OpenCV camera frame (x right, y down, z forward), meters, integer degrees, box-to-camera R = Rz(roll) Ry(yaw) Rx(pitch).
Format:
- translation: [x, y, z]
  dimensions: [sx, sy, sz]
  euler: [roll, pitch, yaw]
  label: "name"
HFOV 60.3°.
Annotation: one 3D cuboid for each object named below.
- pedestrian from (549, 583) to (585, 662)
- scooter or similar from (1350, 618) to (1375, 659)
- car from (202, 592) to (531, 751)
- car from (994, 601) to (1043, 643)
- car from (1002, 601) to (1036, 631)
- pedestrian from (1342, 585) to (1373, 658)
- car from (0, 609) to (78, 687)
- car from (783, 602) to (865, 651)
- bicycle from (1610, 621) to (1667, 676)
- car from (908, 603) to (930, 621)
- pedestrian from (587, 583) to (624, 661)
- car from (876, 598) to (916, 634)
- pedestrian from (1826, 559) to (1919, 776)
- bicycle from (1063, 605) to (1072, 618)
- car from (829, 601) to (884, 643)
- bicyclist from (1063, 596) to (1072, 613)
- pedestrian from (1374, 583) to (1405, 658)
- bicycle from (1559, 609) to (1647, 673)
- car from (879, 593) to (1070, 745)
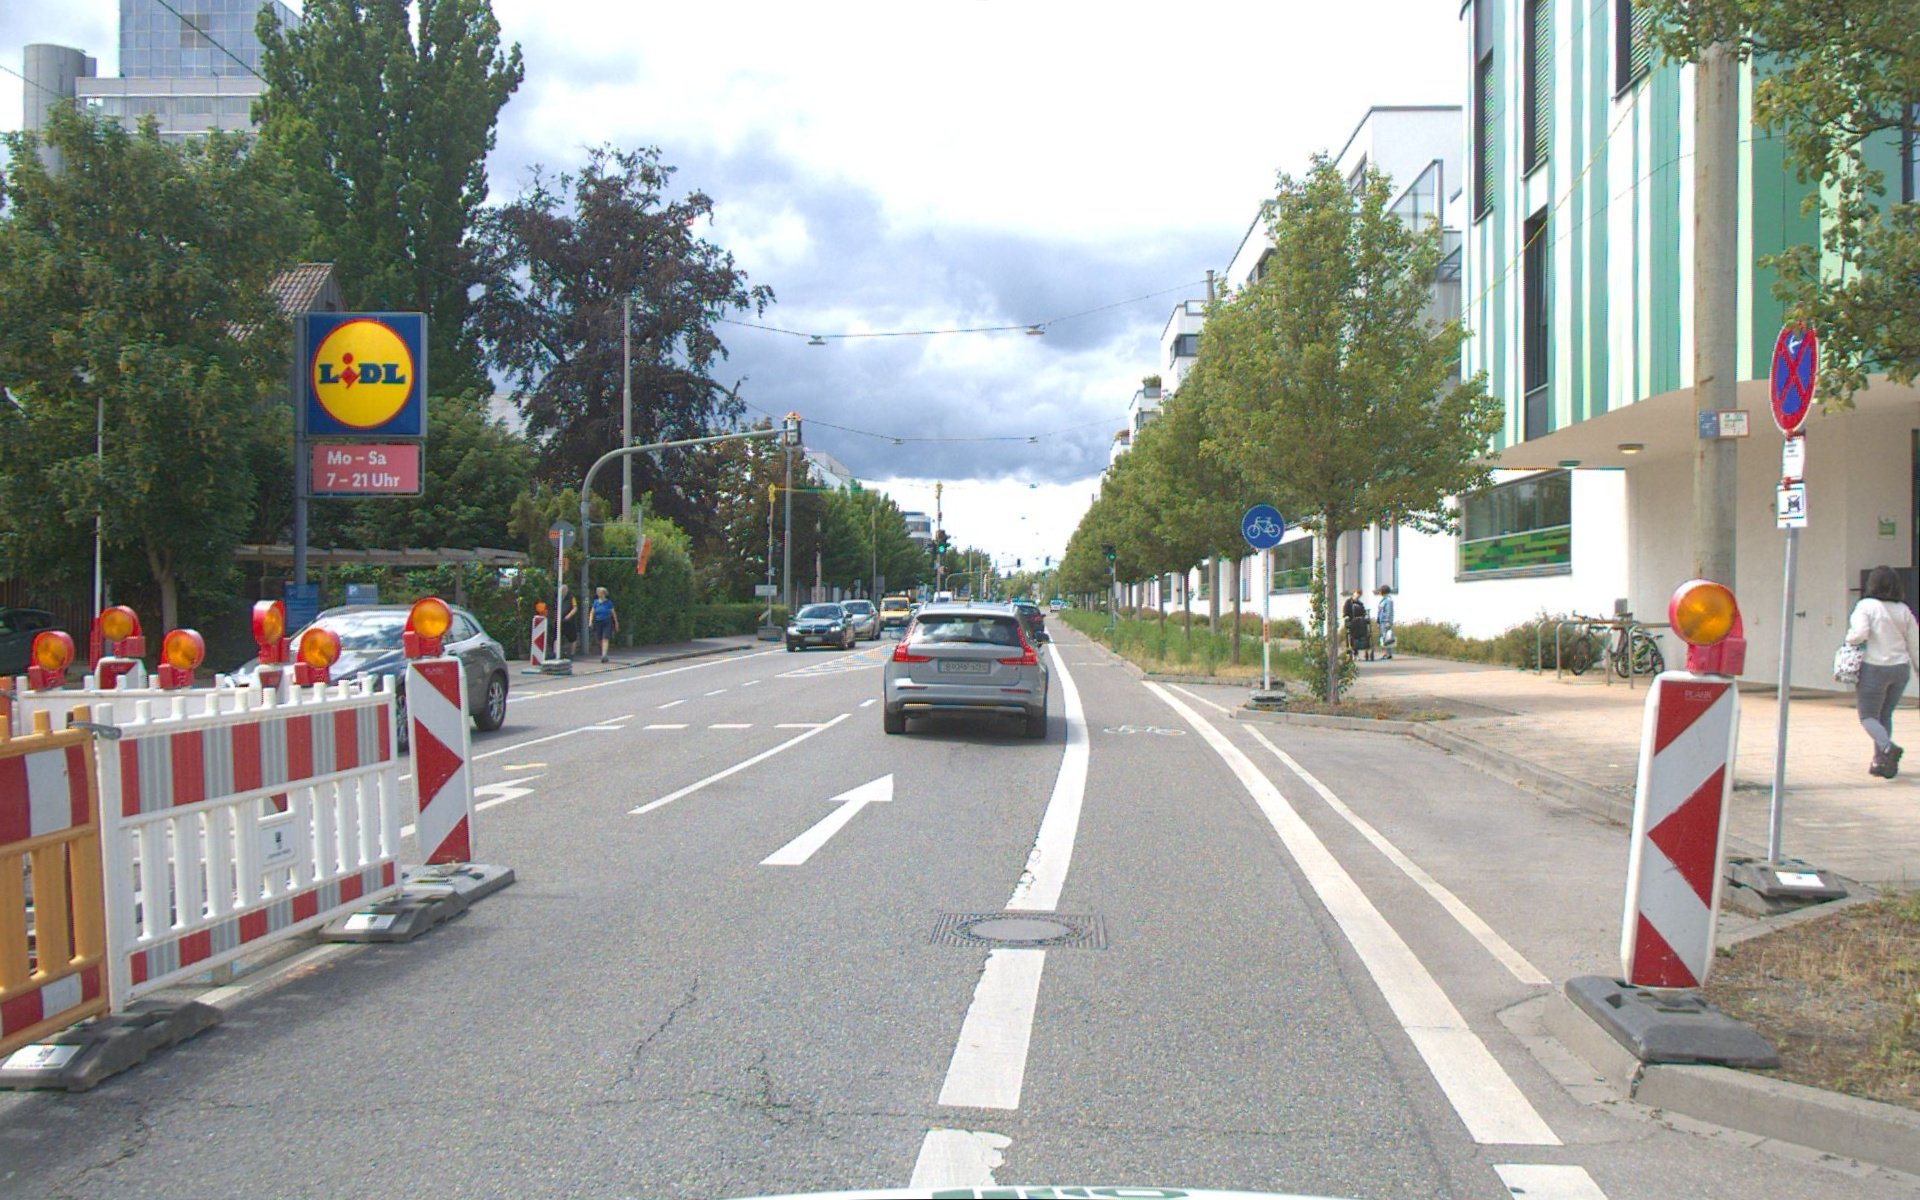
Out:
- translation: [-9.587, 0.547, 40.361]
  dimensions: [0.667, 1.887, 0.707]
  euler: [-1, -1, 2]
  label: "pedestrian"
- translation: [9.203, 0.870, 37.828]
  dimensions: [0.413, 0.921, 0.682]
  euler: [-1, 0, 2]
  label: "scooter or similar"
- translation: [-6.350, 0.717, 18.212]
  dimensions: [1.815, 1.539, 4.003]
  euler: [-1, 0, 6]
  label: "car"
- translation: [2.236, 0.825, 63.282]
  dimensions: [1.816, 1.539, 4.001]
  euler: [1, 0, 2]
  label: "car"
- translation: [3.227, 0.864, 90.933]
  dimensions: [1.806, 1.539, 4.001]
  euler: [1, 0, 2]
  label: "car"
- translation: [9.220, 0.492, 38.365]
  dimensions: [0.592, 1.684, 0.552]
  euler: [-1, -1, 2]
  label: "pedestrian"
- translation: [-19.356, 0.938, 32.350]
  dimensions: [1.952, 1.478, 4.001]
  euler: [-1, 0, 2]
  label: "car"
- translation: [-4.257, 0.811, 52.480]
  dimensions: [1.952, 1.424, 4.812]
  euler: [-2, 0, 2]
  label: "car"
- translation: [11.162, 0.791, 27.209]
  dimensions: [1.011, 0.856, 0.304]
  euler: [-1, 0, -31]
  label: "bicycle"
- translation: [-3.566, 1.028, 143.432]
  dimensions: [1.626, 1.542, 4.001]
  euler: [0, 0, 2]
  label: "car"
- translation: [-8.644, 0.531, 40.350]
  dimensions: [0.667, 1.887, 0.892]
  euler: [-1, -1, 2]
  label: "pedestrian"
- translation: [-3.466, 0.867, 90.531]
  dimensions: [1.803, 1.938, 4.687]
  euler: [-1, 0, 2]
  label: "car"
- translation: [7.057, 0.491, 12.492]
  dimensions: [0.569, 1.579, 0.869]
  euler: [-1, -1, 2]
  label: "pedestrian"
- translation: [12.880, 1.371, 198.092]
  dimensions: [1.045, 1.478, 2.978]
  euler: [-1, 0, 2]
  label: "bicycle"
- translation: [-4.086, 0.855, 65.801]
  dimensions: [1.713, 1.583, 4.403]
  euler: [-1, 0, 2]
  label: "car"
- translation: [12.866, 0.576, 198.202]
  dimensions: [0.993, 2.049, 1.131]
  euler: [-1, 0, 2]
  label: "bicyclist"
- translation: [9.829, 0.472, 37.858]
  dimensions: [0.539, 1.684, 0.607]
  euler: [-1, -1, 2]
  label: "pedestrian"
- translation: [11.002, 0.694, 28.285]
  dimensions: [1.438, 1.064, 0.306]
  euler: [-1, 0, -10]
  label: "bicycle"
- translation: [0.280, 0.729, 19.457]
  dimensions: [1.815, 1.539, 4.003]
  euler: [2, 0, 6]
  label: "car"
